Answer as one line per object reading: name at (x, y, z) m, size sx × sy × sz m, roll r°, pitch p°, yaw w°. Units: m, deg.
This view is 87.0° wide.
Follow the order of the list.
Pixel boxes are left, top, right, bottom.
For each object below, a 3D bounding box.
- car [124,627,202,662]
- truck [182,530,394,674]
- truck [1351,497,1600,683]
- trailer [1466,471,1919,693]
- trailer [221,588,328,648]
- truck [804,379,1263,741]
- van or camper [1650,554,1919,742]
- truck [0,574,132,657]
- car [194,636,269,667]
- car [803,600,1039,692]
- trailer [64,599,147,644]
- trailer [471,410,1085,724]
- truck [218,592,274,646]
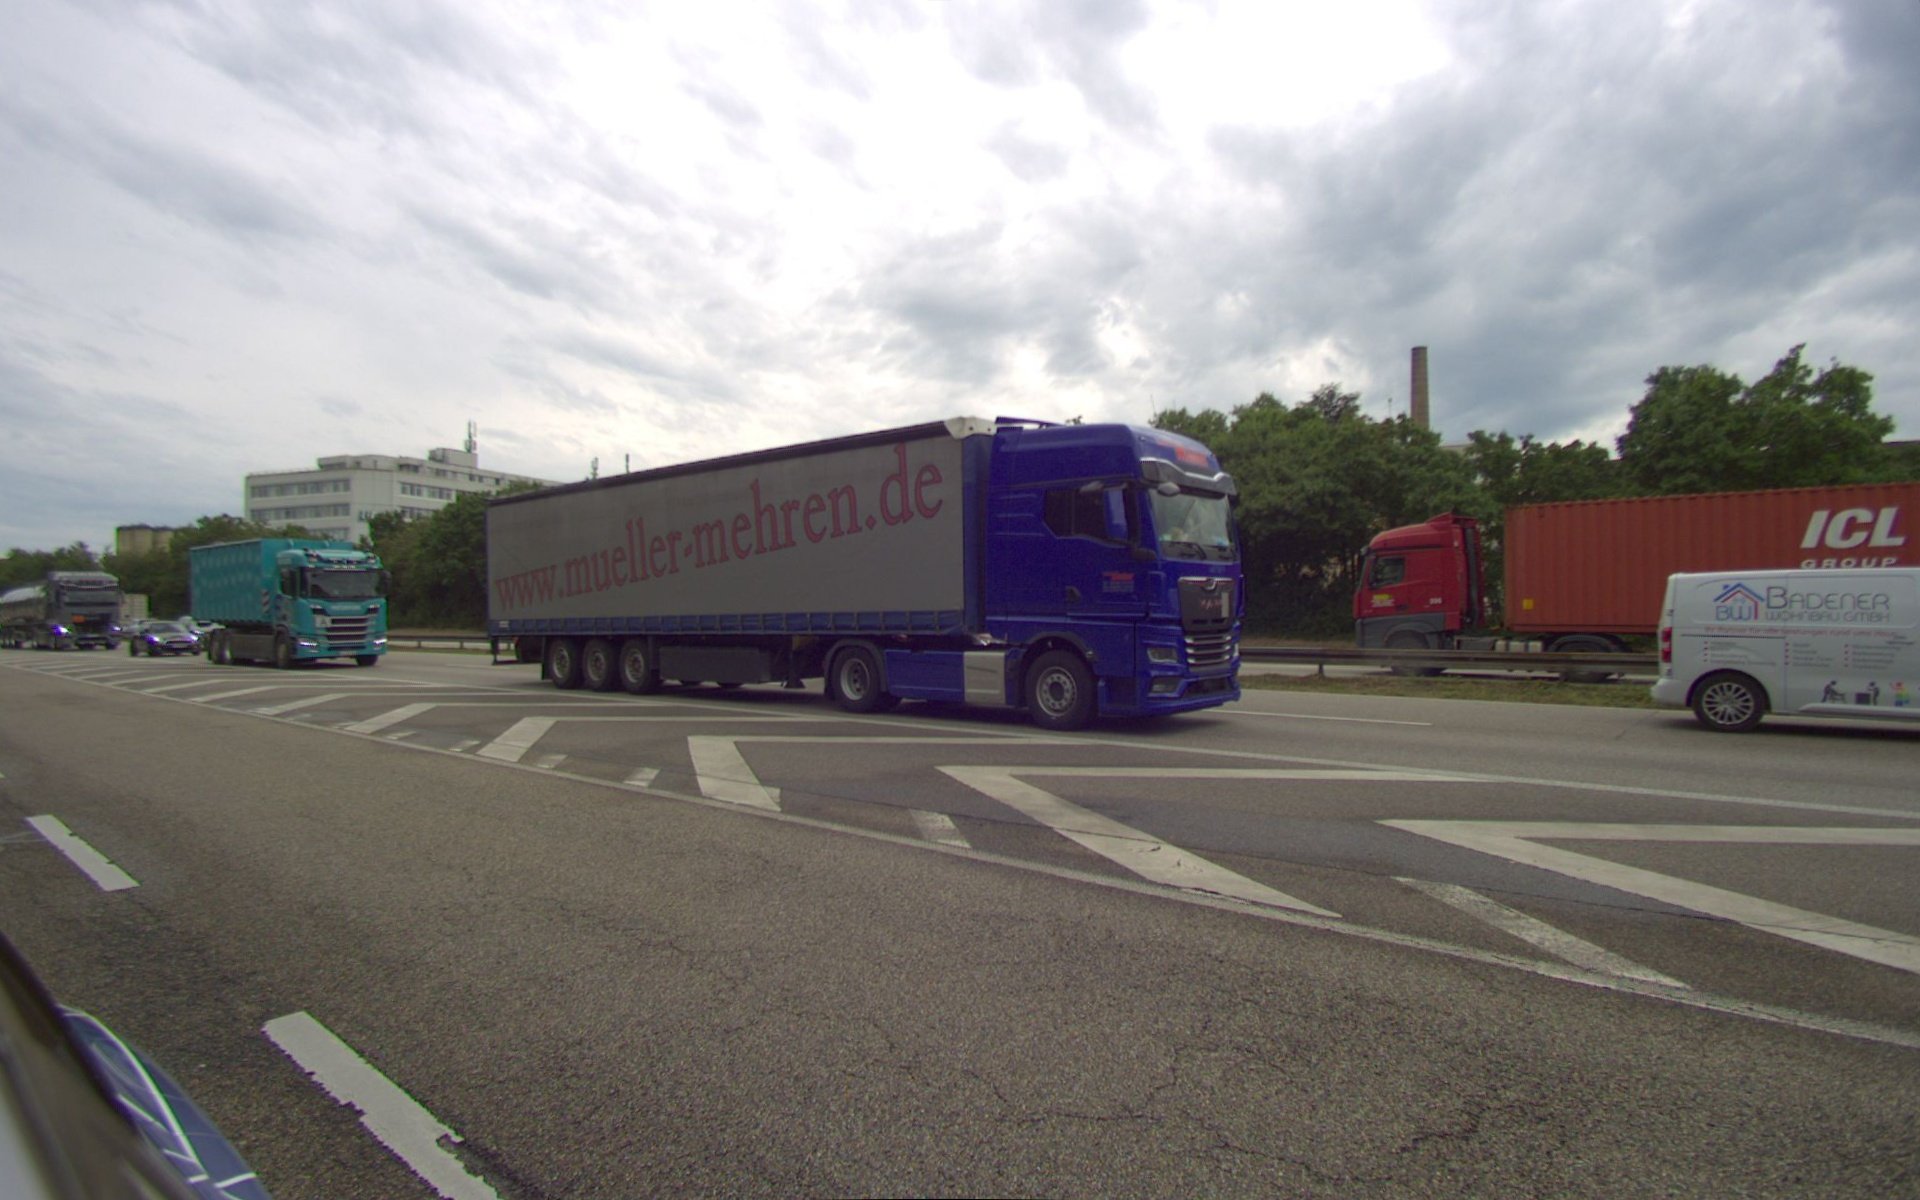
car at (-32.746, 1.804, 41.529) m, size 3.996 × 1.332 × 1.735 m, roll -1°, pitch -1°, yaw 40°
truck at (-21.772, 0.166, 32.467) m, size 10.111 × 4.031 × 2.667 m, roll -1°, pitch -1°, yaw 38°
truck at (12.607, -0.151, 24.911) m, size 4.904 × 4.095 × 2.734 m, roll -2°, pitch -2°, yaw 41°
trailer at (17.800, -0.293, 20.371) m, size 13.345 × 4.095 × 2.736 m, roll -2°, pitch -2°, yaw 41°
trailer at (-49.564, 1.335, 72.922) m, size 13.769 × 4.012 × 2.568 m, roll -1°, pitch -2°, yaw 40°
truck at (0.820, -0.379, 14.079) m, size 5.922 × 3.991 × 2.642 m, roll -1°, pitch -1°, yaw 40°
van or camper at (10.626, 0.507, 11.129) m, size 4.847 × 1.935 × 1.901 m, roll -1°, pitch -2°, yaw 40°
truck at (-47.748, 0.884, 53.410) m, size 13.122 × 3.955 × 3.289 m, roll -1°, pitch -1°, yaw 37°
car at (-35.724, 2.487, 49.583) m, size 4.048 × 1.444 × 1.875 m, roll -1°, pitch -2°, yaw 37°
car at (-0.932, 0.903, 20.979) m, size 5.082 × 1.691 × 1.766 m, roll -2°, pitch -1°, yaw 41°
trailer at (-80.705, 2.046, 95.436) m, size 13.039 × 4.060 × 2.378 m, roll -1°, pitch -2°, yaw 33°
trailer at (-4.345, -0.280, 18.376) m, size 13.906 × 4.005 × 2.646 m, roll -1°, pitch -1°, yaw 40°
truck at (-54.675, 1.488, 77.494) m, size 3.997 × 4.021 × 2.570 m, roll -2°, pitch -2°, yaw 40°
